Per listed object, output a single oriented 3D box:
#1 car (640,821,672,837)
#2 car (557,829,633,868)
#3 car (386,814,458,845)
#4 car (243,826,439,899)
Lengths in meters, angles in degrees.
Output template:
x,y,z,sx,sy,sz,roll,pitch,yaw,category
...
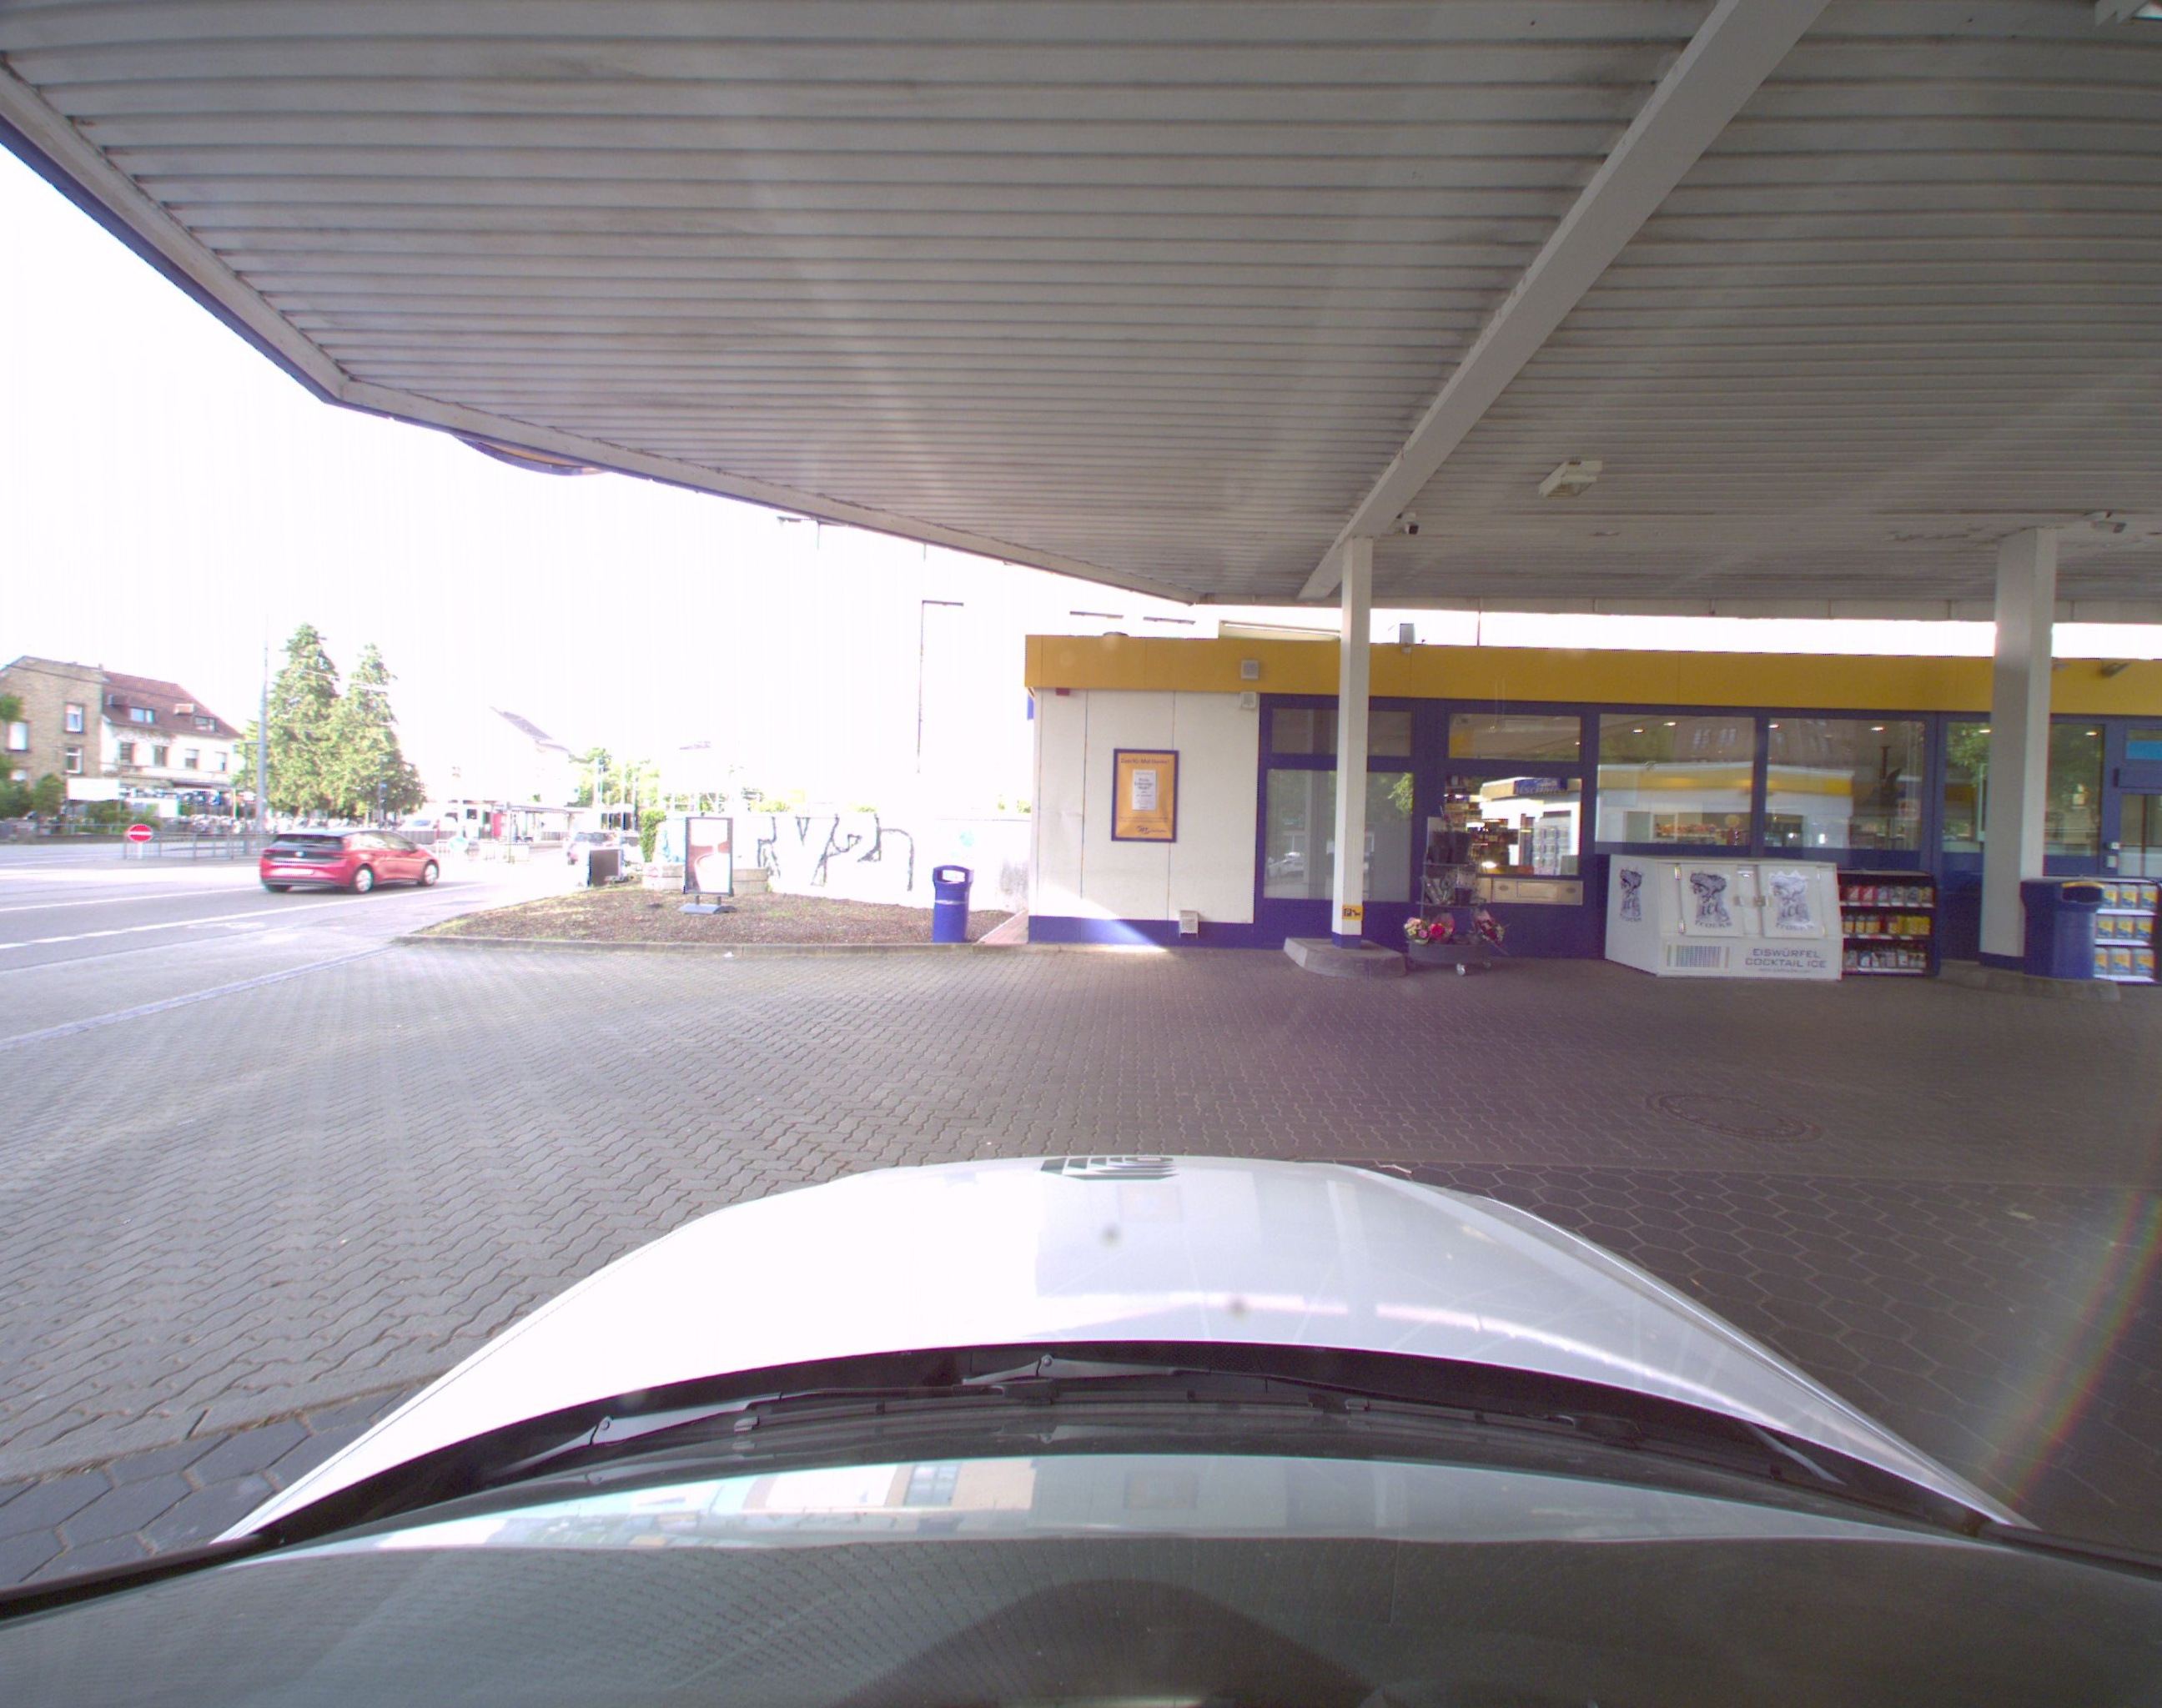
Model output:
x,y,z,sx,sy,sz,roll,pitch,yaw,category
-53.832,-3.176,103.273,1.991,1.968,4.878,1,1,-7,car
-21.218,-0.294,35.707,1.728,1.542,3.981,2,1,-15,car
-42.292,-1.532,52.415,1.966,1.889,4.388,1,0,-15,car
-17.819,0.148,19.914,1.767,1.543,4.111,2,0,-14,car
